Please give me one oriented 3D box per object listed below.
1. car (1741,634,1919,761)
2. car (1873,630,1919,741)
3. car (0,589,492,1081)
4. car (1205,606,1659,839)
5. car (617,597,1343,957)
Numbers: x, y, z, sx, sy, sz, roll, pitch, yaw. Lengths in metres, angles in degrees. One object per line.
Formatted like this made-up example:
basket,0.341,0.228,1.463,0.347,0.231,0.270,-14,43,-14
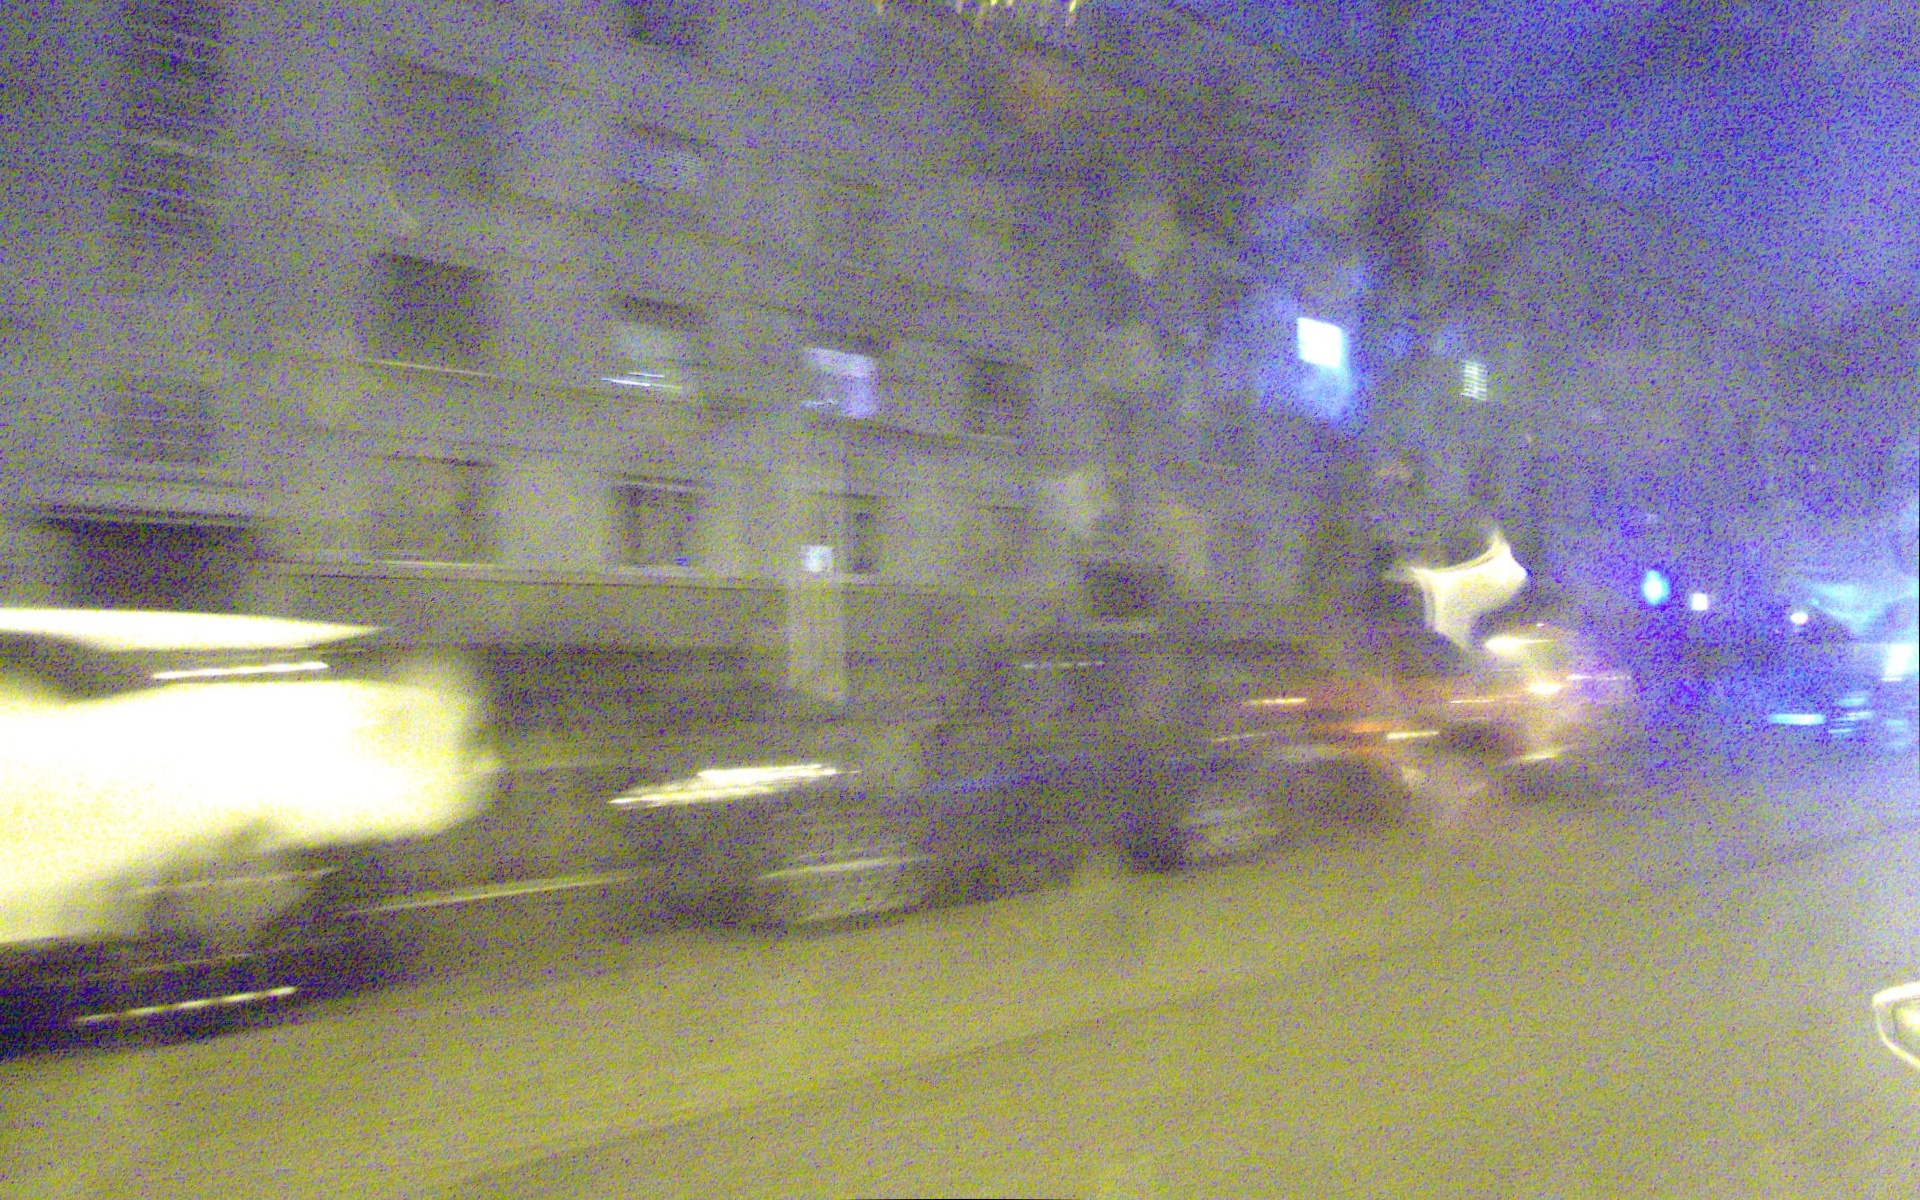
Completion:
car,11.931,1.214,13.177,3.333,1.479,1.426,1,-4,-30
car,15.783,1.291,15.613,3.337,1.640,1.466,1,-5,-32
car,-4.117,0.789,3.575,4.338,1.559,1.659,1,-4,-30
car,4.345,0.965,9.005,4.348,1.618,1.735,2,-5,-36
car,0.278,0.872,6.270,4.343,1.559,1.657,1,-5,-33
